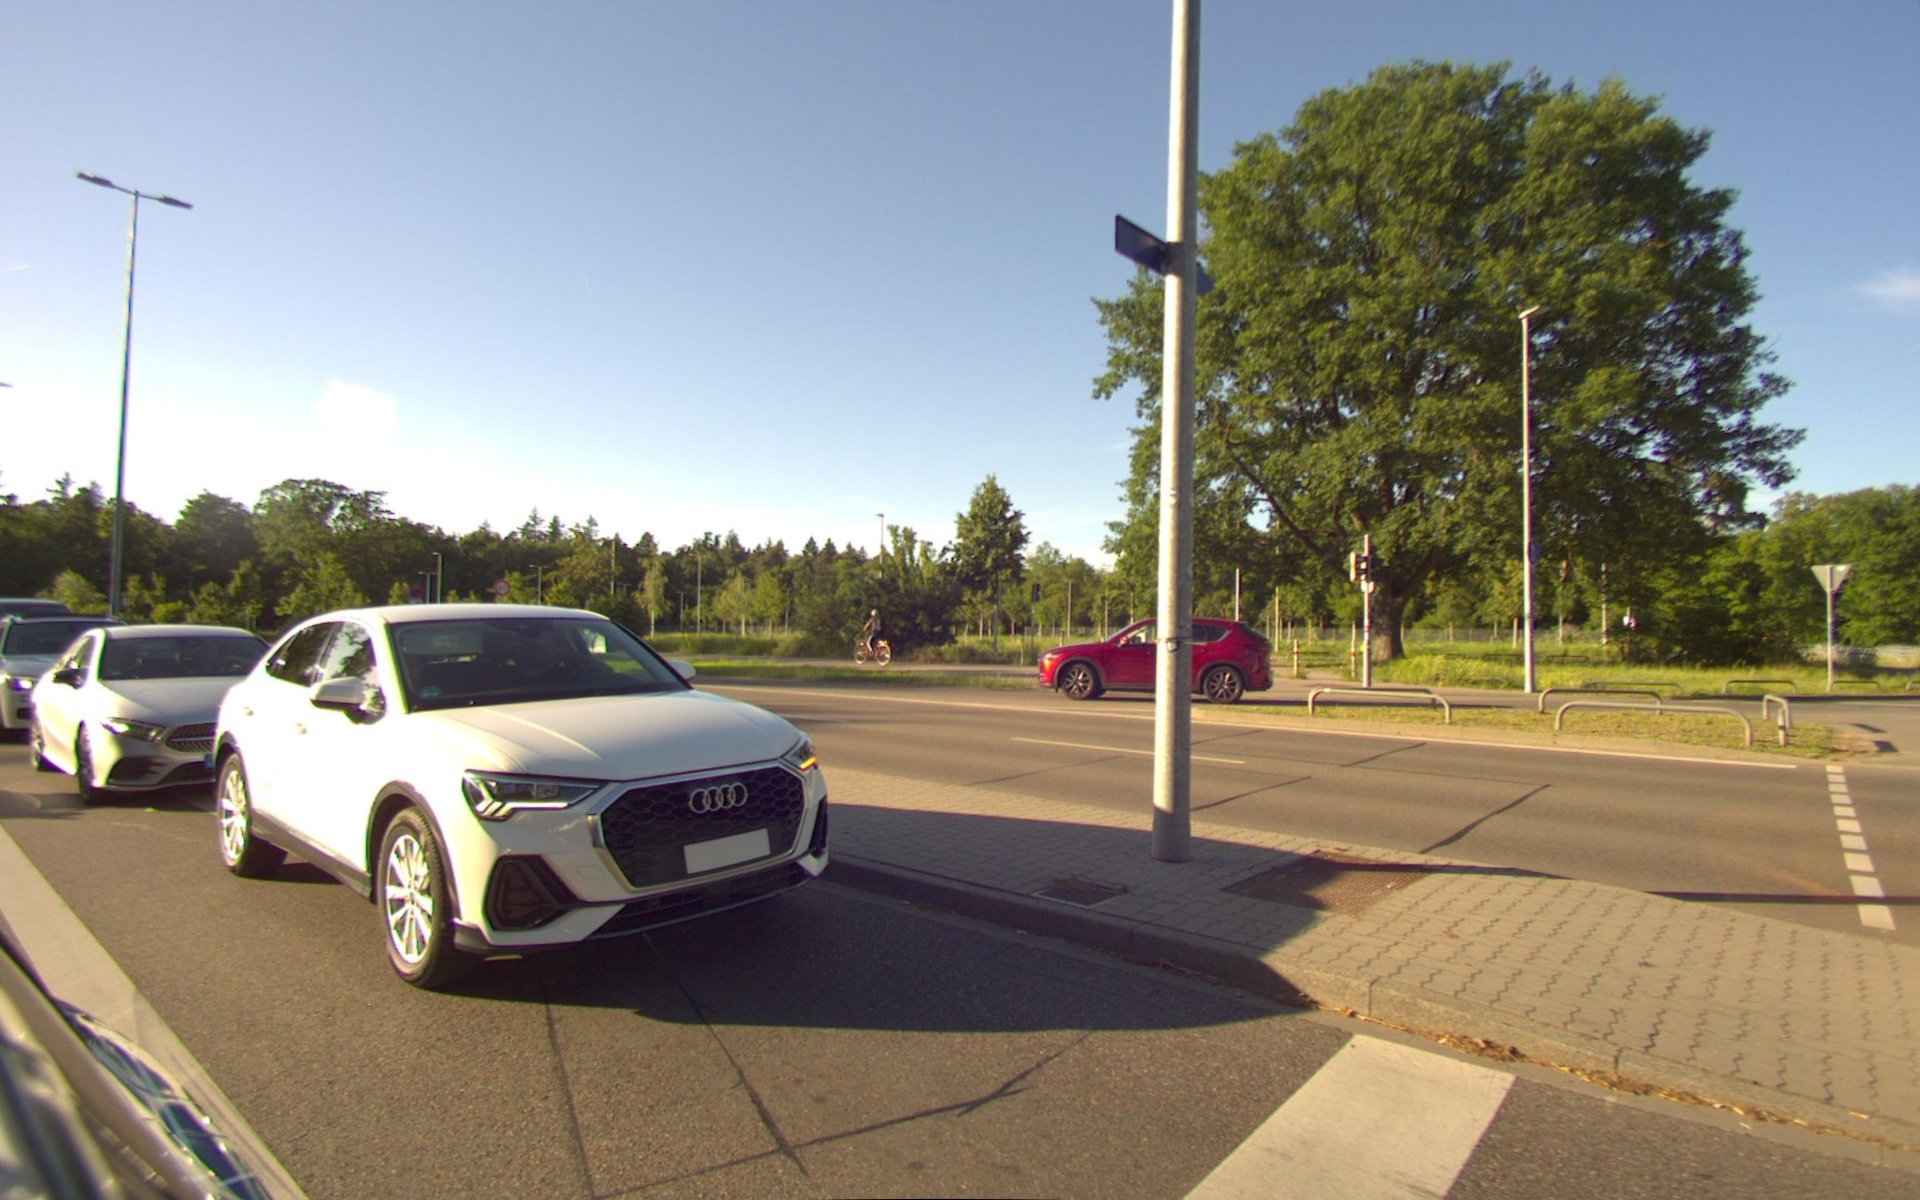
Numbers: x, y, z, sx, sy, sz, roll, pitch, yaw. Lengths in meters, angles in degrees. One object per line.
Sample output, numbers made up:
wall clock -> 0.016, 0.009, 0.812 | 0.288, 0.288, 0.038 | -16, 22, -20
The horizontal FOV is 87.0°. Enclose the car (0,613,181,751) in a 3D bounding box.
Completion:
car -> -12.201, 0.996, 13.677 | 4.317, 1.595, 1.774 | -1, -2, 40

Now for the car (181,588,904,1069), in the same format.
car -> -2.460, 0.778, 5.336 | 4.298, 1.524, 1.814 | -2, -2, 41

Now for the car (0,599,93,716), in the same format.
car -> -17.286, 0.977, 18.110 | 5.230, 1.887, 1.861 | -1, -2, 40

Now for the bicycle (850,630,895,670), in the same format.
bicycle -> -2.898, 1.638, 33.373 | 0.487, 1.247, 1.797 | 0, -1, -42

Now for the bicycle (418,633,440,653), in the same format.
bicycle -> -27.595, 2.220, 52.625 | 1.361, 1.027, 0.576 | -1, -1, 42

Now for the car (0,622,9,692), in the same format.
car -> -23.537, 1.311, 23.453 | 4.100, 1.581, 1.714 | -1, -2, 40

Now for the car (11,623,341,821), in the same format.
car -> -7.449, 0.946, 9.447 | 4.316, 1.438, 1.640 | -2, -2, 41

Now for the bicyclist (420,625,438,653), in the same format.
bicyclist -> -27.538, 2.024, 52.486 | 0.800, 1.424, 0.585 | -1, -1, 43

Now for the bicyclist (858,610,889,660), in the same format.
bicyclist -> -2.842, 1.152, 33.281 | 0.672, 1.623, 0.801 | 0, -1, -42

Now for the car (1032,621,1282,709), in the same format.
car -> 3.787, 1.215, 19.546 | 4.531, 1.565, 1.882 | -1, -3, 16
